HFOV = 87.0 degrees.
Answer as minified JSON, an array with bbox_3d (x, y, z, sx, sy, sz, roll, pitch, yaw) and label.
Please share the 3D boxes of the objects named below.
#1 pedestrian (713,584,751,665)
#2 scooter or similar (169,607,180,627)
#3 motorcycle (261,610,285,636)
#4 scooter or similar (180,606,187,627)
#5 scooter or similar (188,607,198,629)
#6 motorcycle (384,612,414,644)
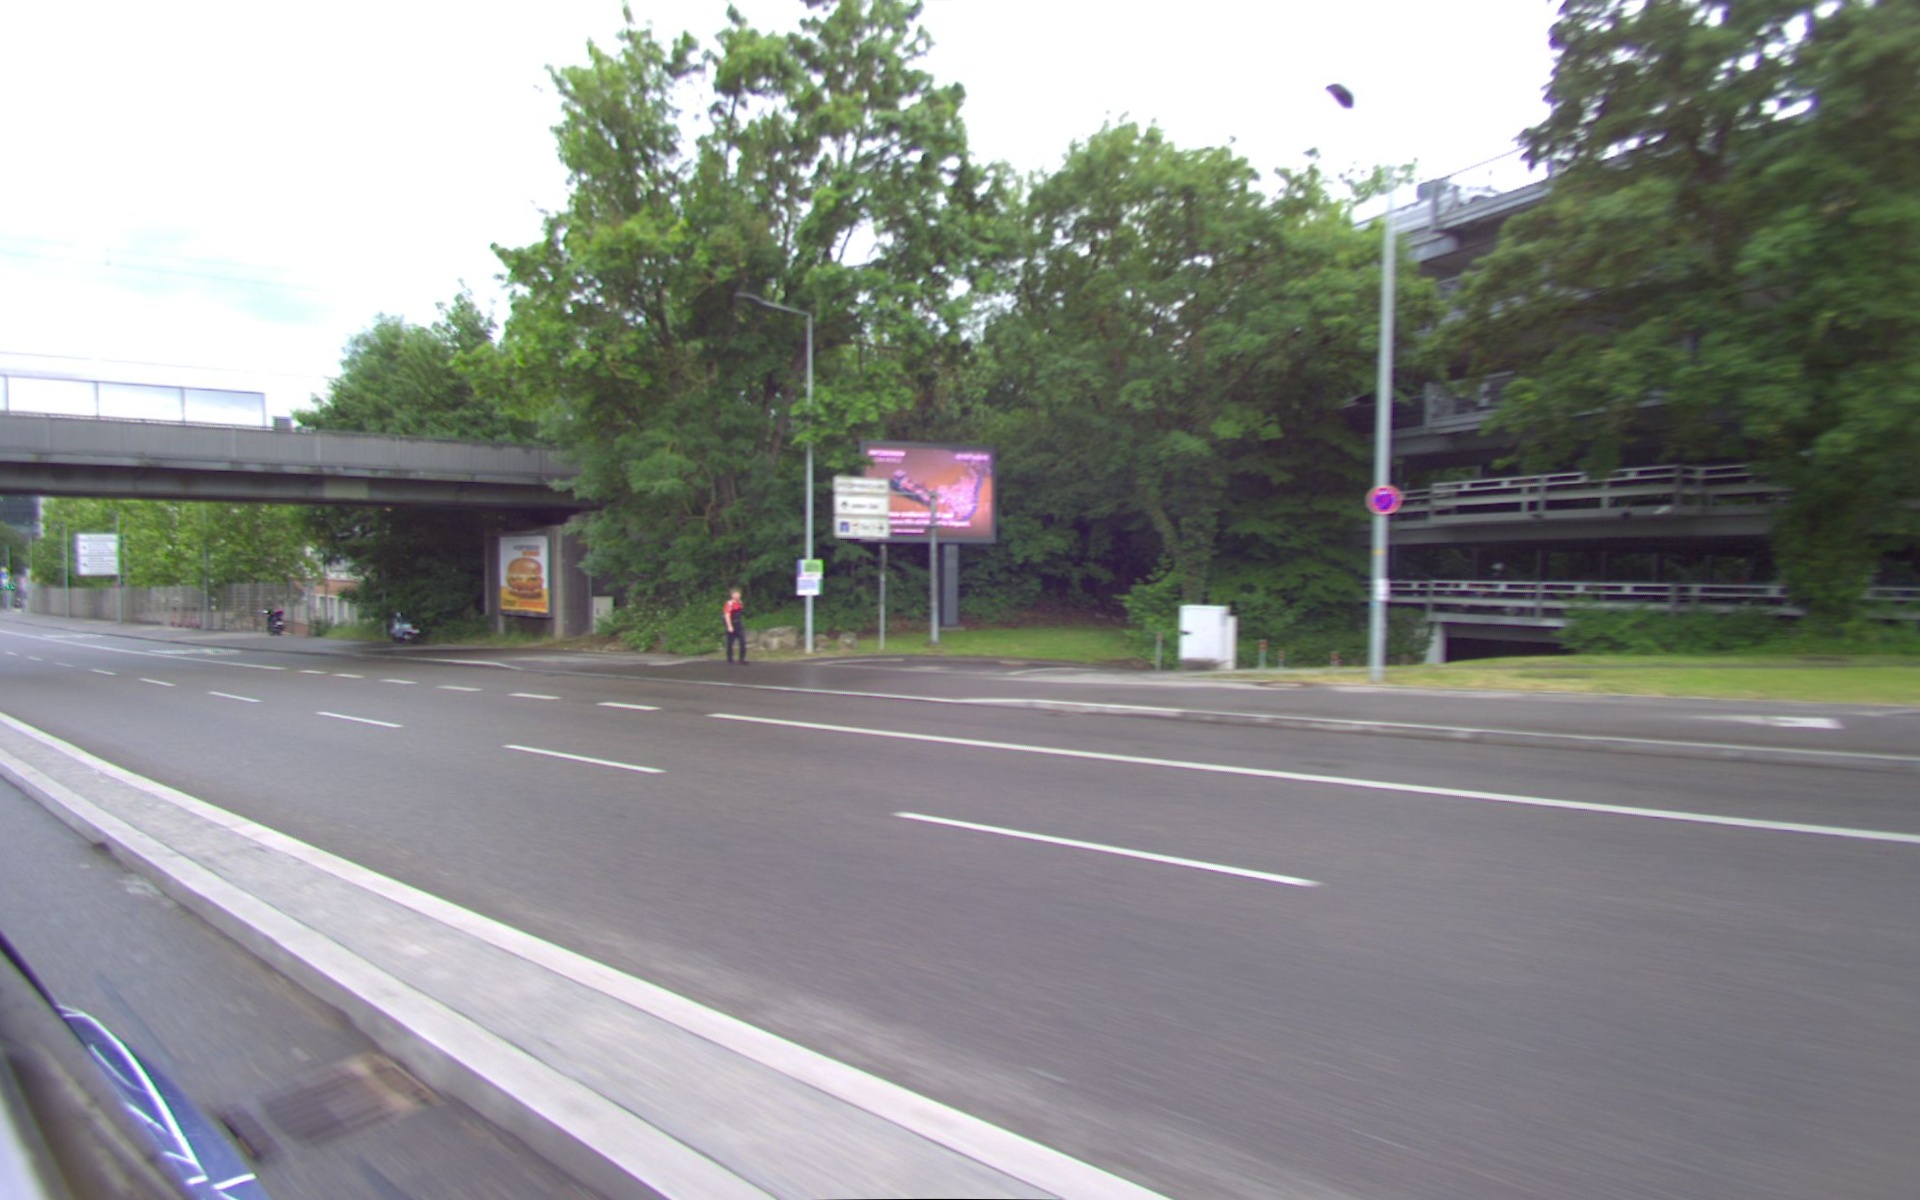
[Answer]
[{"bbox_3d":[-5.243,0.550,23.221,0.513,1.829,0.801,-2,1,-38],"label":"pedestrian"},{"bbox_3d":[-48.958,1.041,63.099,1.307,1.227,0.308,0,0,42],"label":"scooter or similar"},{"bbox_3d":[-33.215,1.090,48.943,1.995,1.214,0.463,-1,0,42],"label":"motorcycle"},{"bbox_3d":[-47.106,1.007,61.420,0.307,1.227,1.311,-1,0,-36],"label":"scooter or similar"},{"bbox_3d":[-45.310,1.055,59.796,0.308,1.227,1.309,-1,0,-43],"label":"scooter or similar"},{"bbox_3d":[-21.007,1.034,37.880,0.463,1.167,1.933,-1,0,-45],"label":"motorcycle"}]
